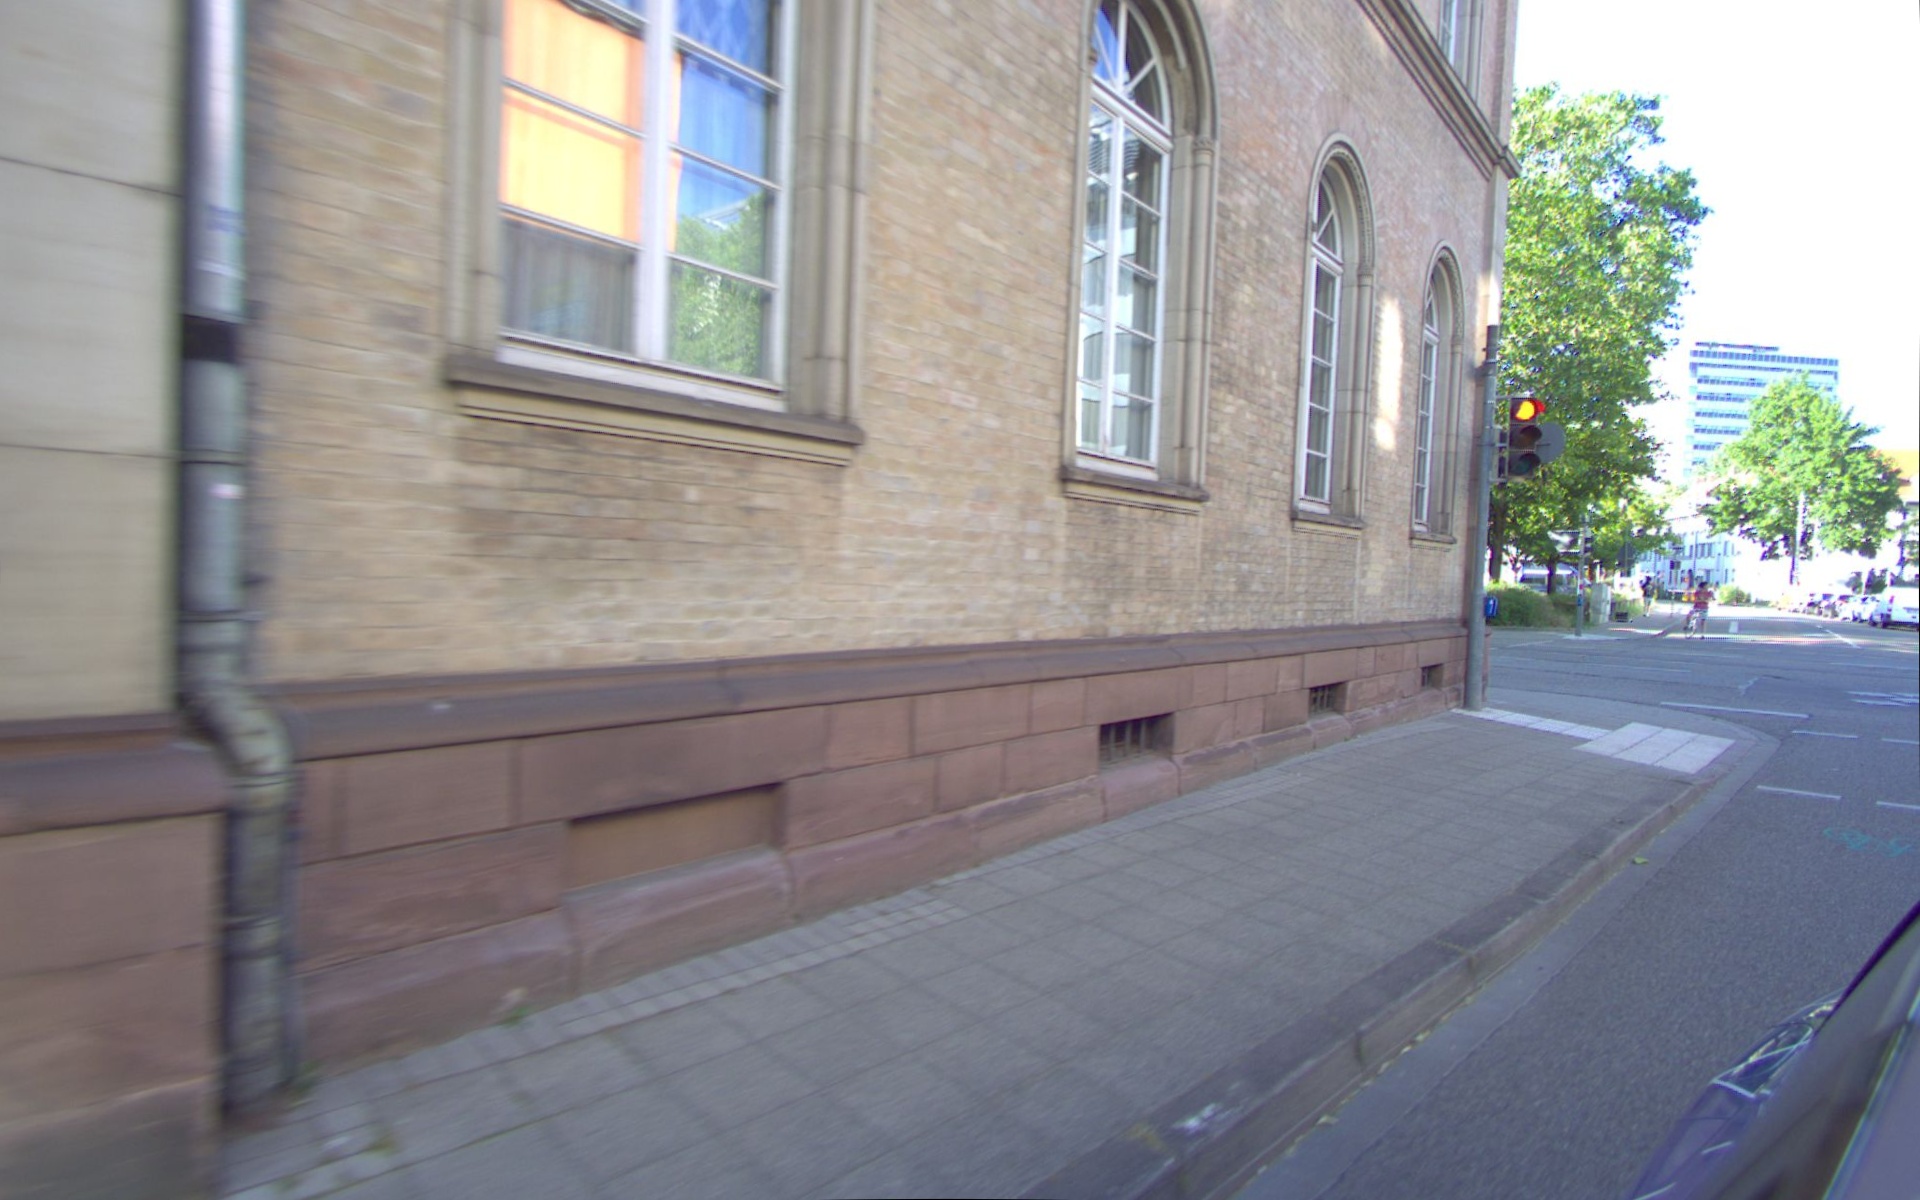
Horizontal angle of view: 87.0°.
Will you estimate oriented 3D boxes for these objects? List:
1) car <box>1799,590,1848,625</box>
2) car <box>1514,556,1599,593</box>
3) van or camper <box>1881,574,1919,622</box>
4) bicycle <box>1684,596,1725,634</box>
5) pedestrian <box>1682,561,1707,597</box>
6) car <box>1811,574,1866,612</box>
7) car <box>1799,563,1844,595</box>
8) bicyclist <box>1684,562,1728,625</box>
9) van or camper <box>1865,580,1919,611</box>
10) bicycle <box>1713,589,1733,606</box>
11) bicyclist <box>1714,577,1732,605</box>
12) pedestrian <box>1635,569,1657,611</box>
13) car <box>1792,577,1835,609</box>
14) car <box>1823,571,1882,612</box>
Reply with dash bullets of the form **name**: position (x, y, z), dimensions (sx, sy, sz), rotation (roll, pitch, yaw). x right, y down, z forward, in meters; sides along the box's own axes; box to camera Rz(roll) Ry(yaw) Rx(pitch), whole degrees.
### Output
- **car**: position (53.389, 0.431, 62.623), dimensions (1.989, 2.038, 3.946), rotation (3, 2, 37)
- **car**: position (37.990, -1.651, 64.481), dimensions (4.537, 2.139, 1.976), rotation (3, 2, 34)
- **van or camper**: position (42.652, -0.089, 44.912), dimensions (2.152, 2.038, 4.909), rotation (4, 3, 38)
- **bicycle**: position (22.800, 0.426, 30.990), dimensions (0.937, 1.051, 2.966), rotation (3, 2, 37)
- **pedestrian**: position (70.111, -1.975, 96.649), dimensions (1.442, 3.349, 1.397), rotation (3, 2, 21)
- **car**: position (50.134, -0.424, 57.809), dimensions (1.989, 2.038, 3.946), rotation (3, 2, 37)
- **car**: position (57.167, -1.395, 67.208), dimensions (1.989, 2.038, 3.946), rotation (3, 2, 37)
- **bicyclist**: position (22.736, -0.213, 30.831), dimensions (0.973, 1.830, 1.116), rotation (3, 2, 38)
- **van or camper**: position (67.642, -0.273, 71.780), dimensions (4.690, 2.112, 1.980), rotation (3, 2, 29)
- **bicycle**: position (45.875, -0.175, 60.867), dimensions (0.757, 0.961, 3.020), rotation (3, 2, 34)
- **bicyclist**: position (45.912, -0.553, 60.900), dimensions (0.757, 1.612, 0.890), rotation (3, 2, 35)
- **pedestrian**: position (31.530, -0.463, 46.497), dimensions (0.662, 1.877, 1.015), rotation (3, 2, 29)
- **car**: position (59.702, -0.464, 70.820), dimensions (1.989, 2.039, 3.946), rotation (3, 1, 37)
- **car**: position (47.528, -0.472, 53.969), dimensions (1.989, 2.038, 3.946), rotation (3, 2, 37)
